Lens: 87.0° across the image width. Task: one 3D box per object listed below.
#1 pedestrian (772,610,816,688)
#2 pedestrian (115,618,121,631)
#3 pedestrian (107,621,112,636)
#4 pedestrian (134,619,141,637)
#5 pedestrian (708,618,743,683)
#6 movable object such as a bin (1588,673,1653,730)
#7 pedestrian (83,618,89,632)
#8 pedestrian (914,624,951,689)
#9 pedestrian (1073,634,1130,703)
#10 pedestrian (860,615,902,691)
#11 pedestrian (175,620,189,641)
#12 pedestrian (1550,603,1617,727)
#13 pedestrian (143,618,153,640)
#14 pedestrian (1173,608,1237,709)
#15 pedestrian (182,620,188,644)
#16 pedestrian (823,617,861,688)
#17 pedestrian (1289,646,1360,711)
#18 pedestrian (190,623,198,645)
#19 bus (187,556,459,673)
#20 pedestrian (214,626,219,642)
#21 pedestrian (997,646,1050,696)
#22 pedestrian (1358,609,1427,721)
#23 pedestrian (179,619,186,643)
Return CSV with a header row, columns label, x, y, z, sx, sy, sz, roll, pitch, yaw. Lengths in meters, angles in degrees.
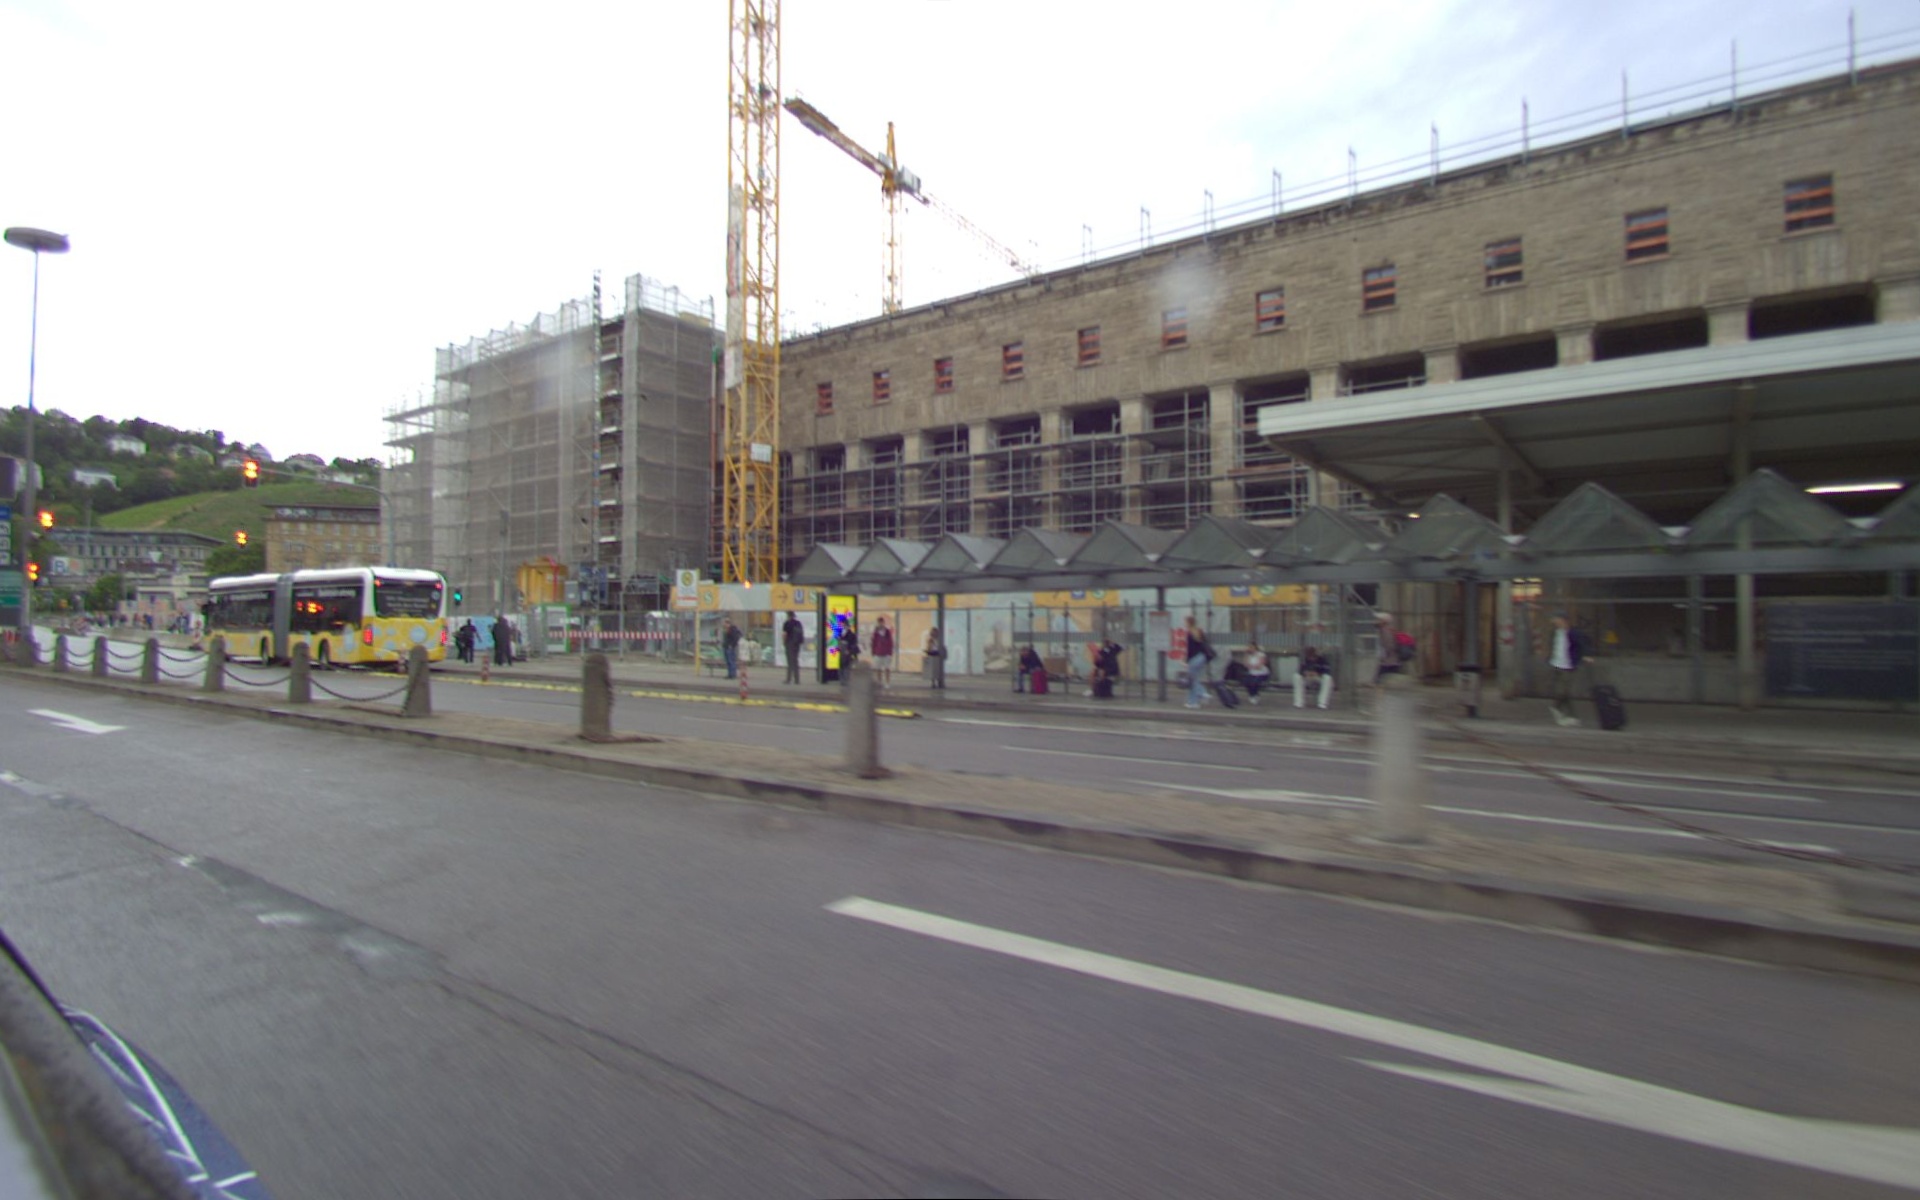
label,x,y,z,sx,sy,sz,roll,pitch,yaw
pedestrian,-4.297,1.239,26.199,0.820,1.973,0.753,-1,-1,34
pedestrian,-86.792,2.545,104.313,0.432,1.362,0.414,1,-2,-43
pedestrian,-92.739,3.056,110.312,0.356,1.628,0.370,-1,-2,38
pedestrian,-75.659,2.596,93.112,0.413,1.628,0.433,-1,-2,38
pedestrian,-6.676,1.429,28.783,0.690,1.804,0.795,1,-2,-41
movable object such as a bin,9.772,1.493,14.994,0.503,0.795,0.635,1,-2,-8
pedestrian,-101.470,2.851,117.518,0.431,1.628,0.414,0,-1,-28
pedestrian,-0.704,1.429,25.939,0.802,1.642,0.552,-1,-1,29
pedestrian,3.104,1.472,22.162,0.829,1.443,1.045,-1,-2,36
pedestrian,-1.926,1.280,24.759,0.745,1.804,0.718,-1,-1,31
pedestrian,-63.567,2.504,82.658,0.617,1.698,0.796,-1,-2,41
pedestrian,9.636,0.990,15.653,0.549,1.862,0.679,0,-1,-7
pedestrian,-75.564,2.710,94.202,0.685,2.049,0.586,-1,-2,38
pedestrian,4.512,1.059,18.637,0.861,1.804,0.766,-2,-2,44
pedestrian,-57.605,2.352,75.264,0.268,1.783,0.310,-1,-1,42
pedestrian,-3.027,1.334,25.945,0.802,1.804,0.552,-1,-1,29
pedestrian,6.979,1.484,19.381,1.053,1.167,0.941,-1,-2,37
pedestrian,-57.760,2.529,76.303,0.365,1.633,0.395,-1,-1,43
bus,-24.821,0.617,38.379,19.059,3.605,2.880,-1,-3,40
pedestrian,-56.244,2.569,76.551,0.390,1.202,0.251,-1,-1,44
pedestrian,1.462,1.616,23.324,0.924,1.101,0.836,-1,-1,36
pedestrian,7.219,1.060,16.911,0.661,1.804,0.786,0,-1,-25
pedestrian,-57.807,2.308,75.225,0.346,1.783,0.307,-2,-2,42
